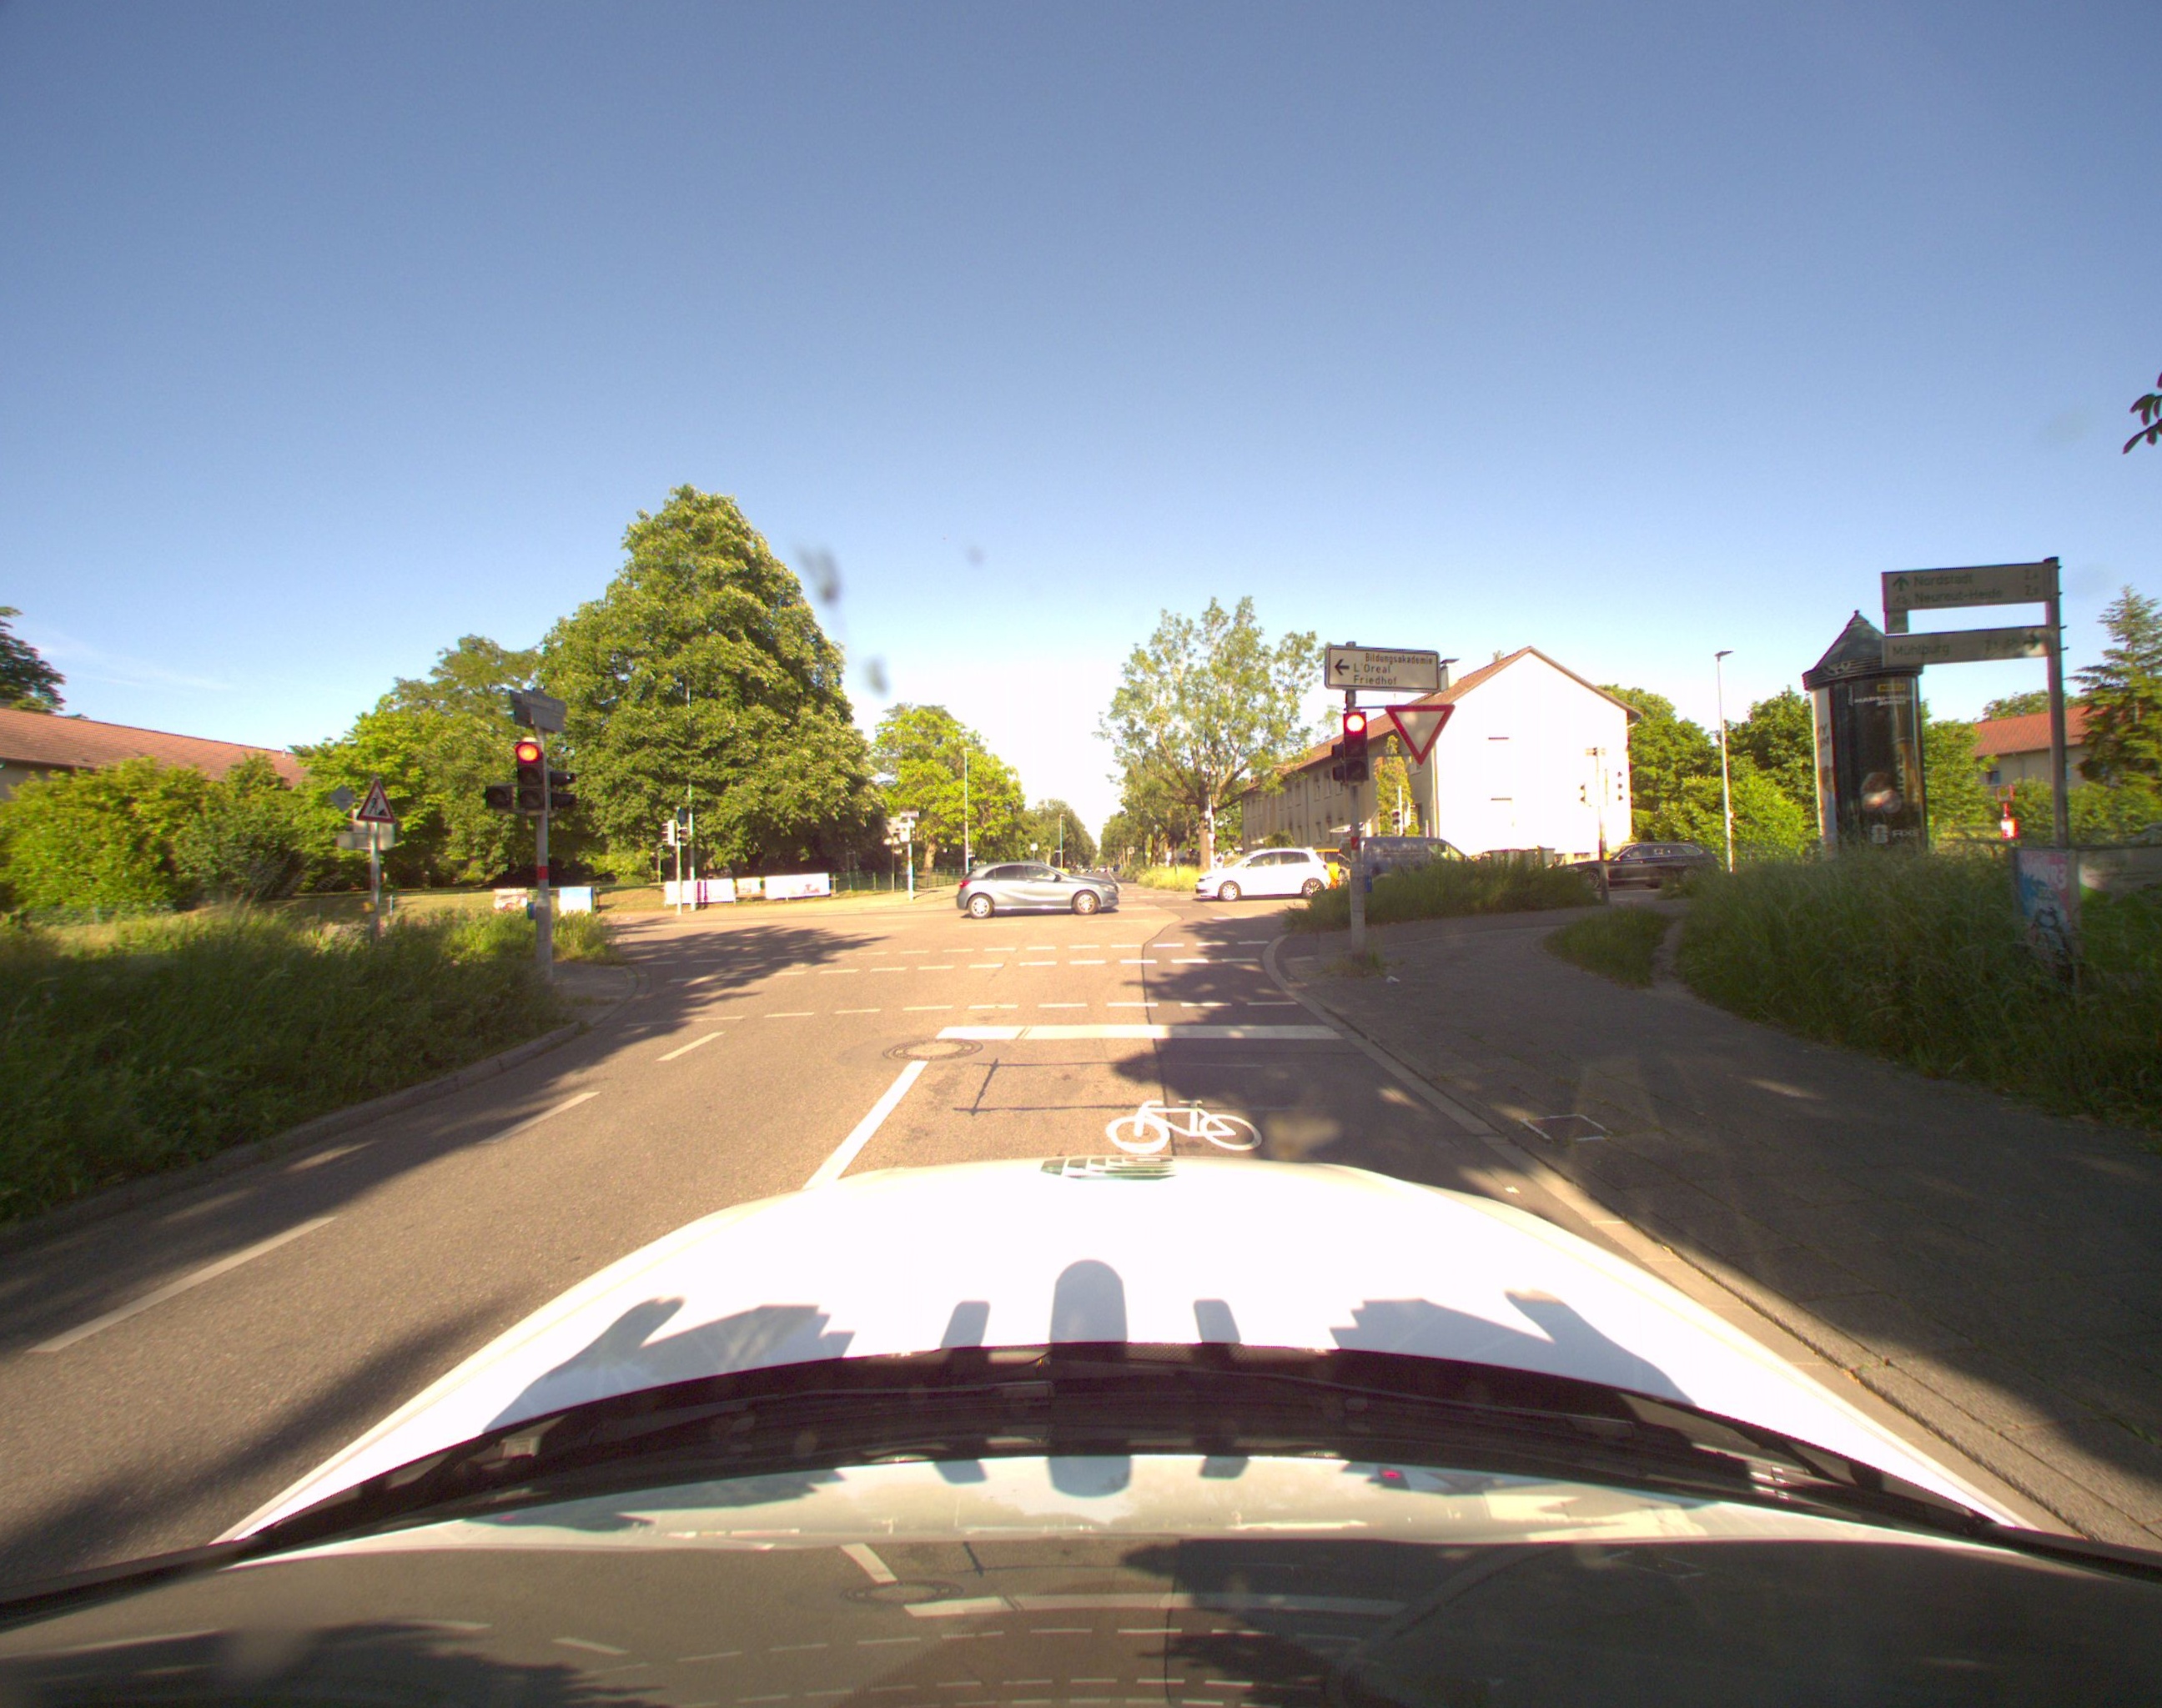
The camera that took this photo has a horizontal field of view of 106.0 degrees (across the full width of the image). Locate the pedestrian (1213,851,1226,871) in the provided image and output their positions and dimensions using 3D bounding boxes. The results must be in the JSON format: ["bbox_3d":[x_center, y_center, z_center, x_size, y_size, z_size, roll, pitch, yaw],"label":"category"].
[{"bbox_3d":[10.498,0.534,61.627,0.839,1.493,0.924,1,0,1],"label":"pedestrian"}]

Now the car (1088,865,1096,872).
[{"bbox_3d":[2.621,3.405,194.646,1.751,1.624,3.271,-2,0,3],"label":"car"}]

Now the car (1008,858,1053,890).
[{"bbox_3d":[-2.376,0.914,38.821,1.704,1.385,3.473,-2,0,3],"label":"car"}]

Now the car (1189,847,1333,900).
[{"bbox_3d":[5.555,0.582,25.422,4.096,1.563,1.756,0,-1,-2],"label":"car"}]

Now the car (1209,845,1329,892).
[{"bbox_3d":[6.533,0.508,28.557,3.961,1.582,1.763,-1,-1,11],"label":"car"}]

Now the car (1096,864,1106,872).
[{"bbox_3d":[4.071,2.815,166.249,1.838,1.461,3.531,-2,0,1],"label":"car"}]

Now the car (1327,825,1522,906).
[{"bbox_3d":[8.945,0.277,21.435,4.334,1.887,1.858,-2,0,-3],"label":"car"}]

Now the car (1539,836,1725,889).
[{"bbox_3d":[17.191,0.246,25.500,4.726,1.430,1.994,-2,0,-9],"label":"car"}]

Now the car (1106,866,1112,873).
[{"bbox_3d":[7.566,4.151,219.284,1.766,1.754,4.002,-1,-1,2],"label":"car"}]

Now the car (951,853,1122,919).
[{"bbox_3d":[-1.131,0.816,21.587,4.270,1.489,1.913,-2,0,-1],"label":"car"}]
